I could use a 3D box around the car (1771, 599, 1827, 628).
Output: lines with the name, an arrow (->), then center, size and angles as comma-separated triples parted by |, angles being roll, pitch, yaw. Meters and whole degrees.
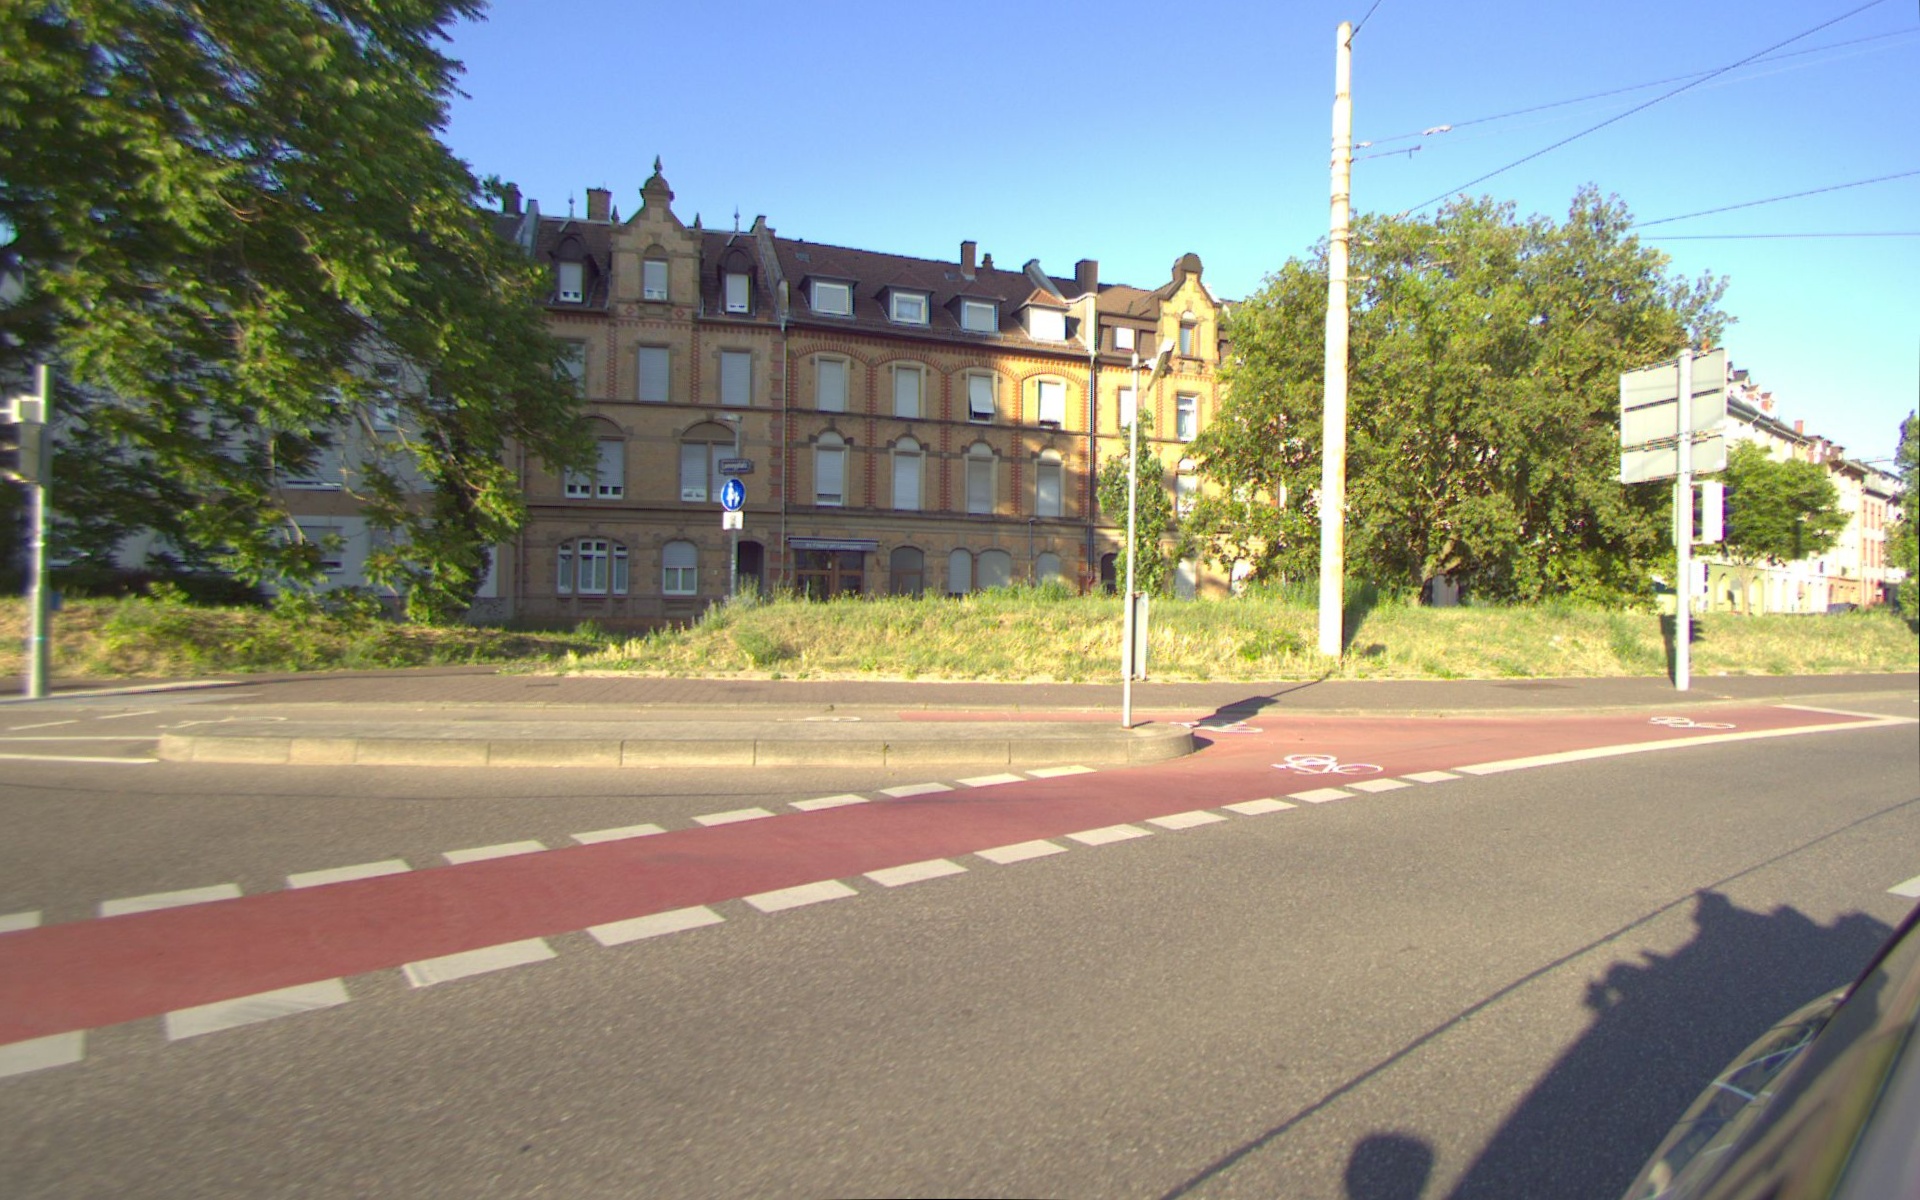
car -> 34.791, 0.528, 41.952 | 1.699, 1.103, 3.651 | 1, 1, 41
